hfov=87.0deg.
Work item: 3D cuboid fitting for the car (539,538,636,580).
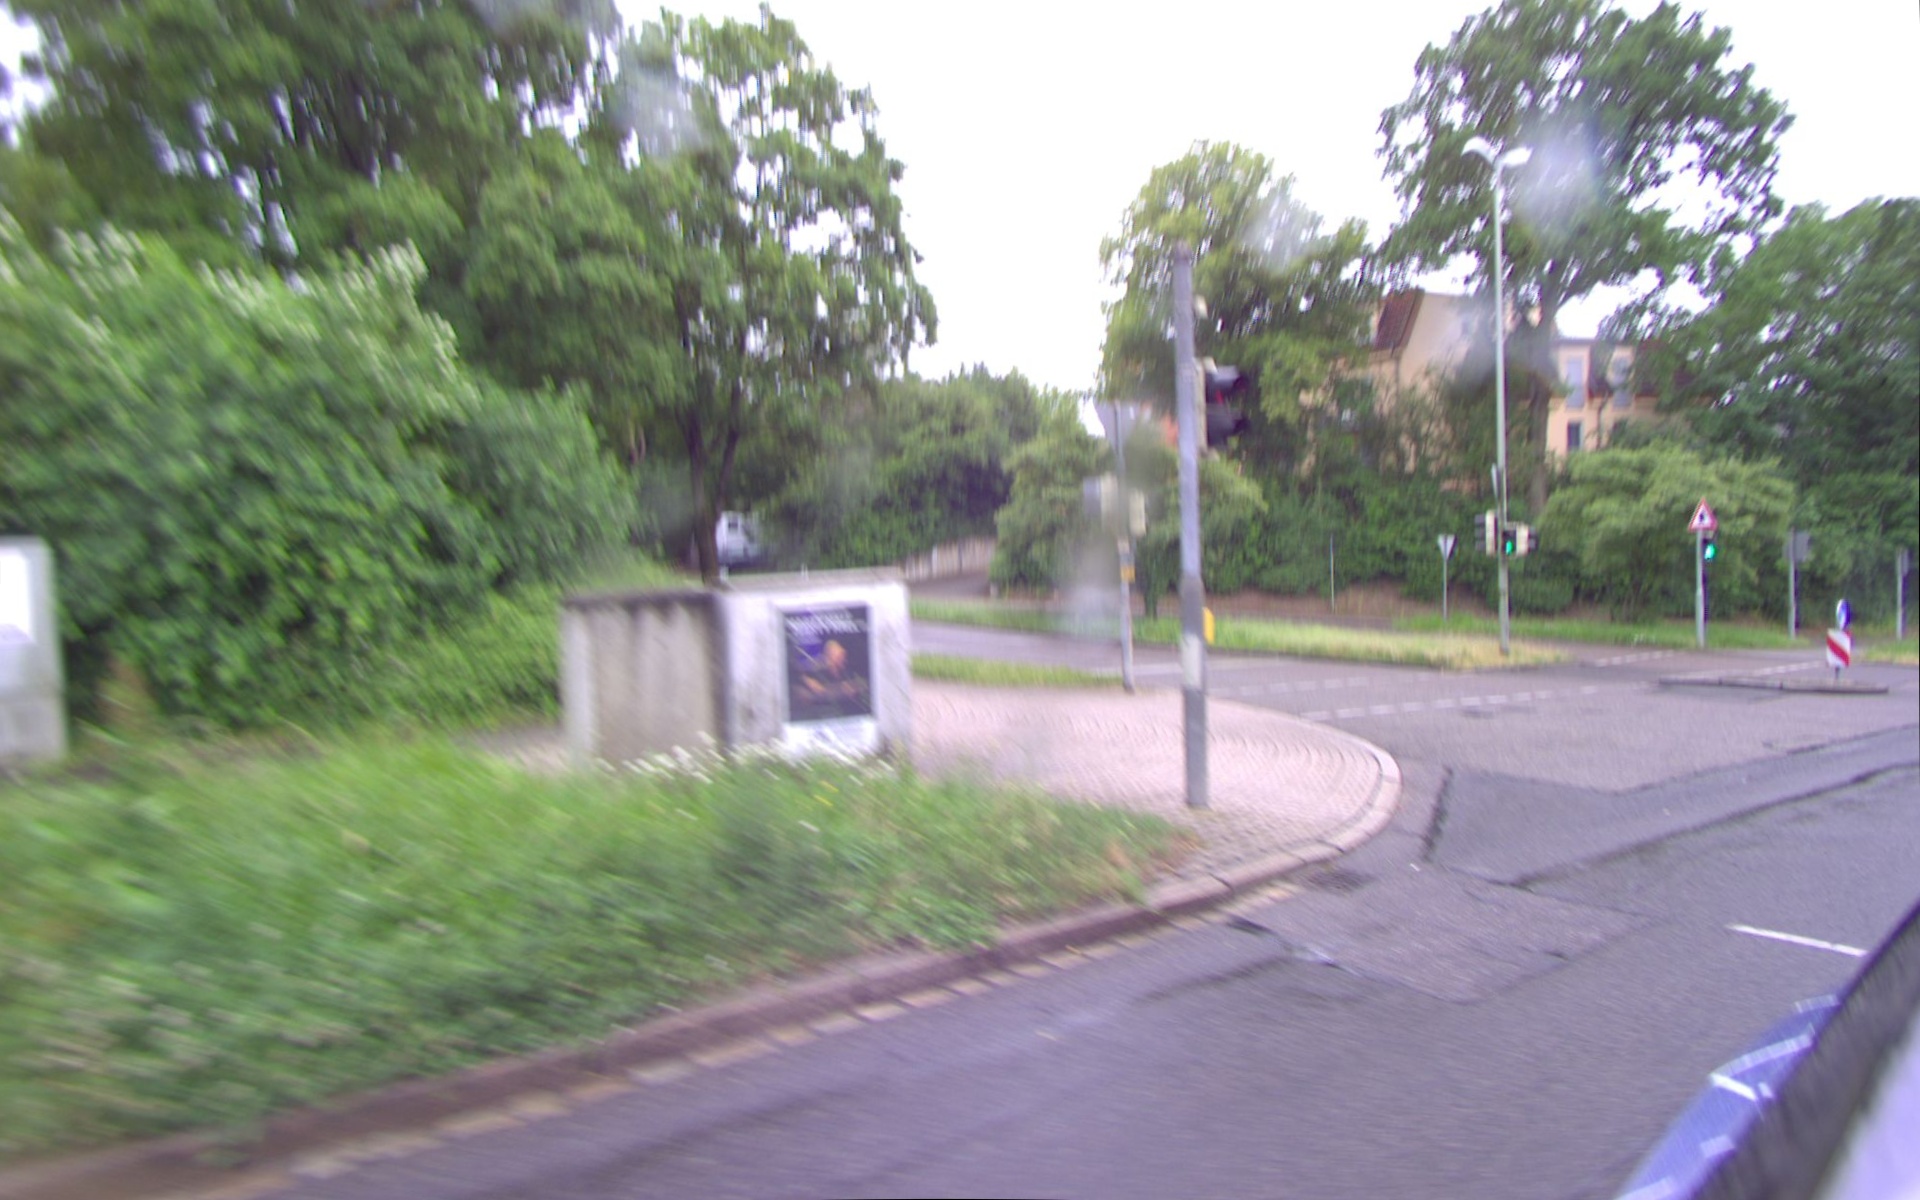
[{"bbox_3d":[-17.989,-1.966,48.929,1.951,1.923,3.938,3,2,43],"label":"car"}]
